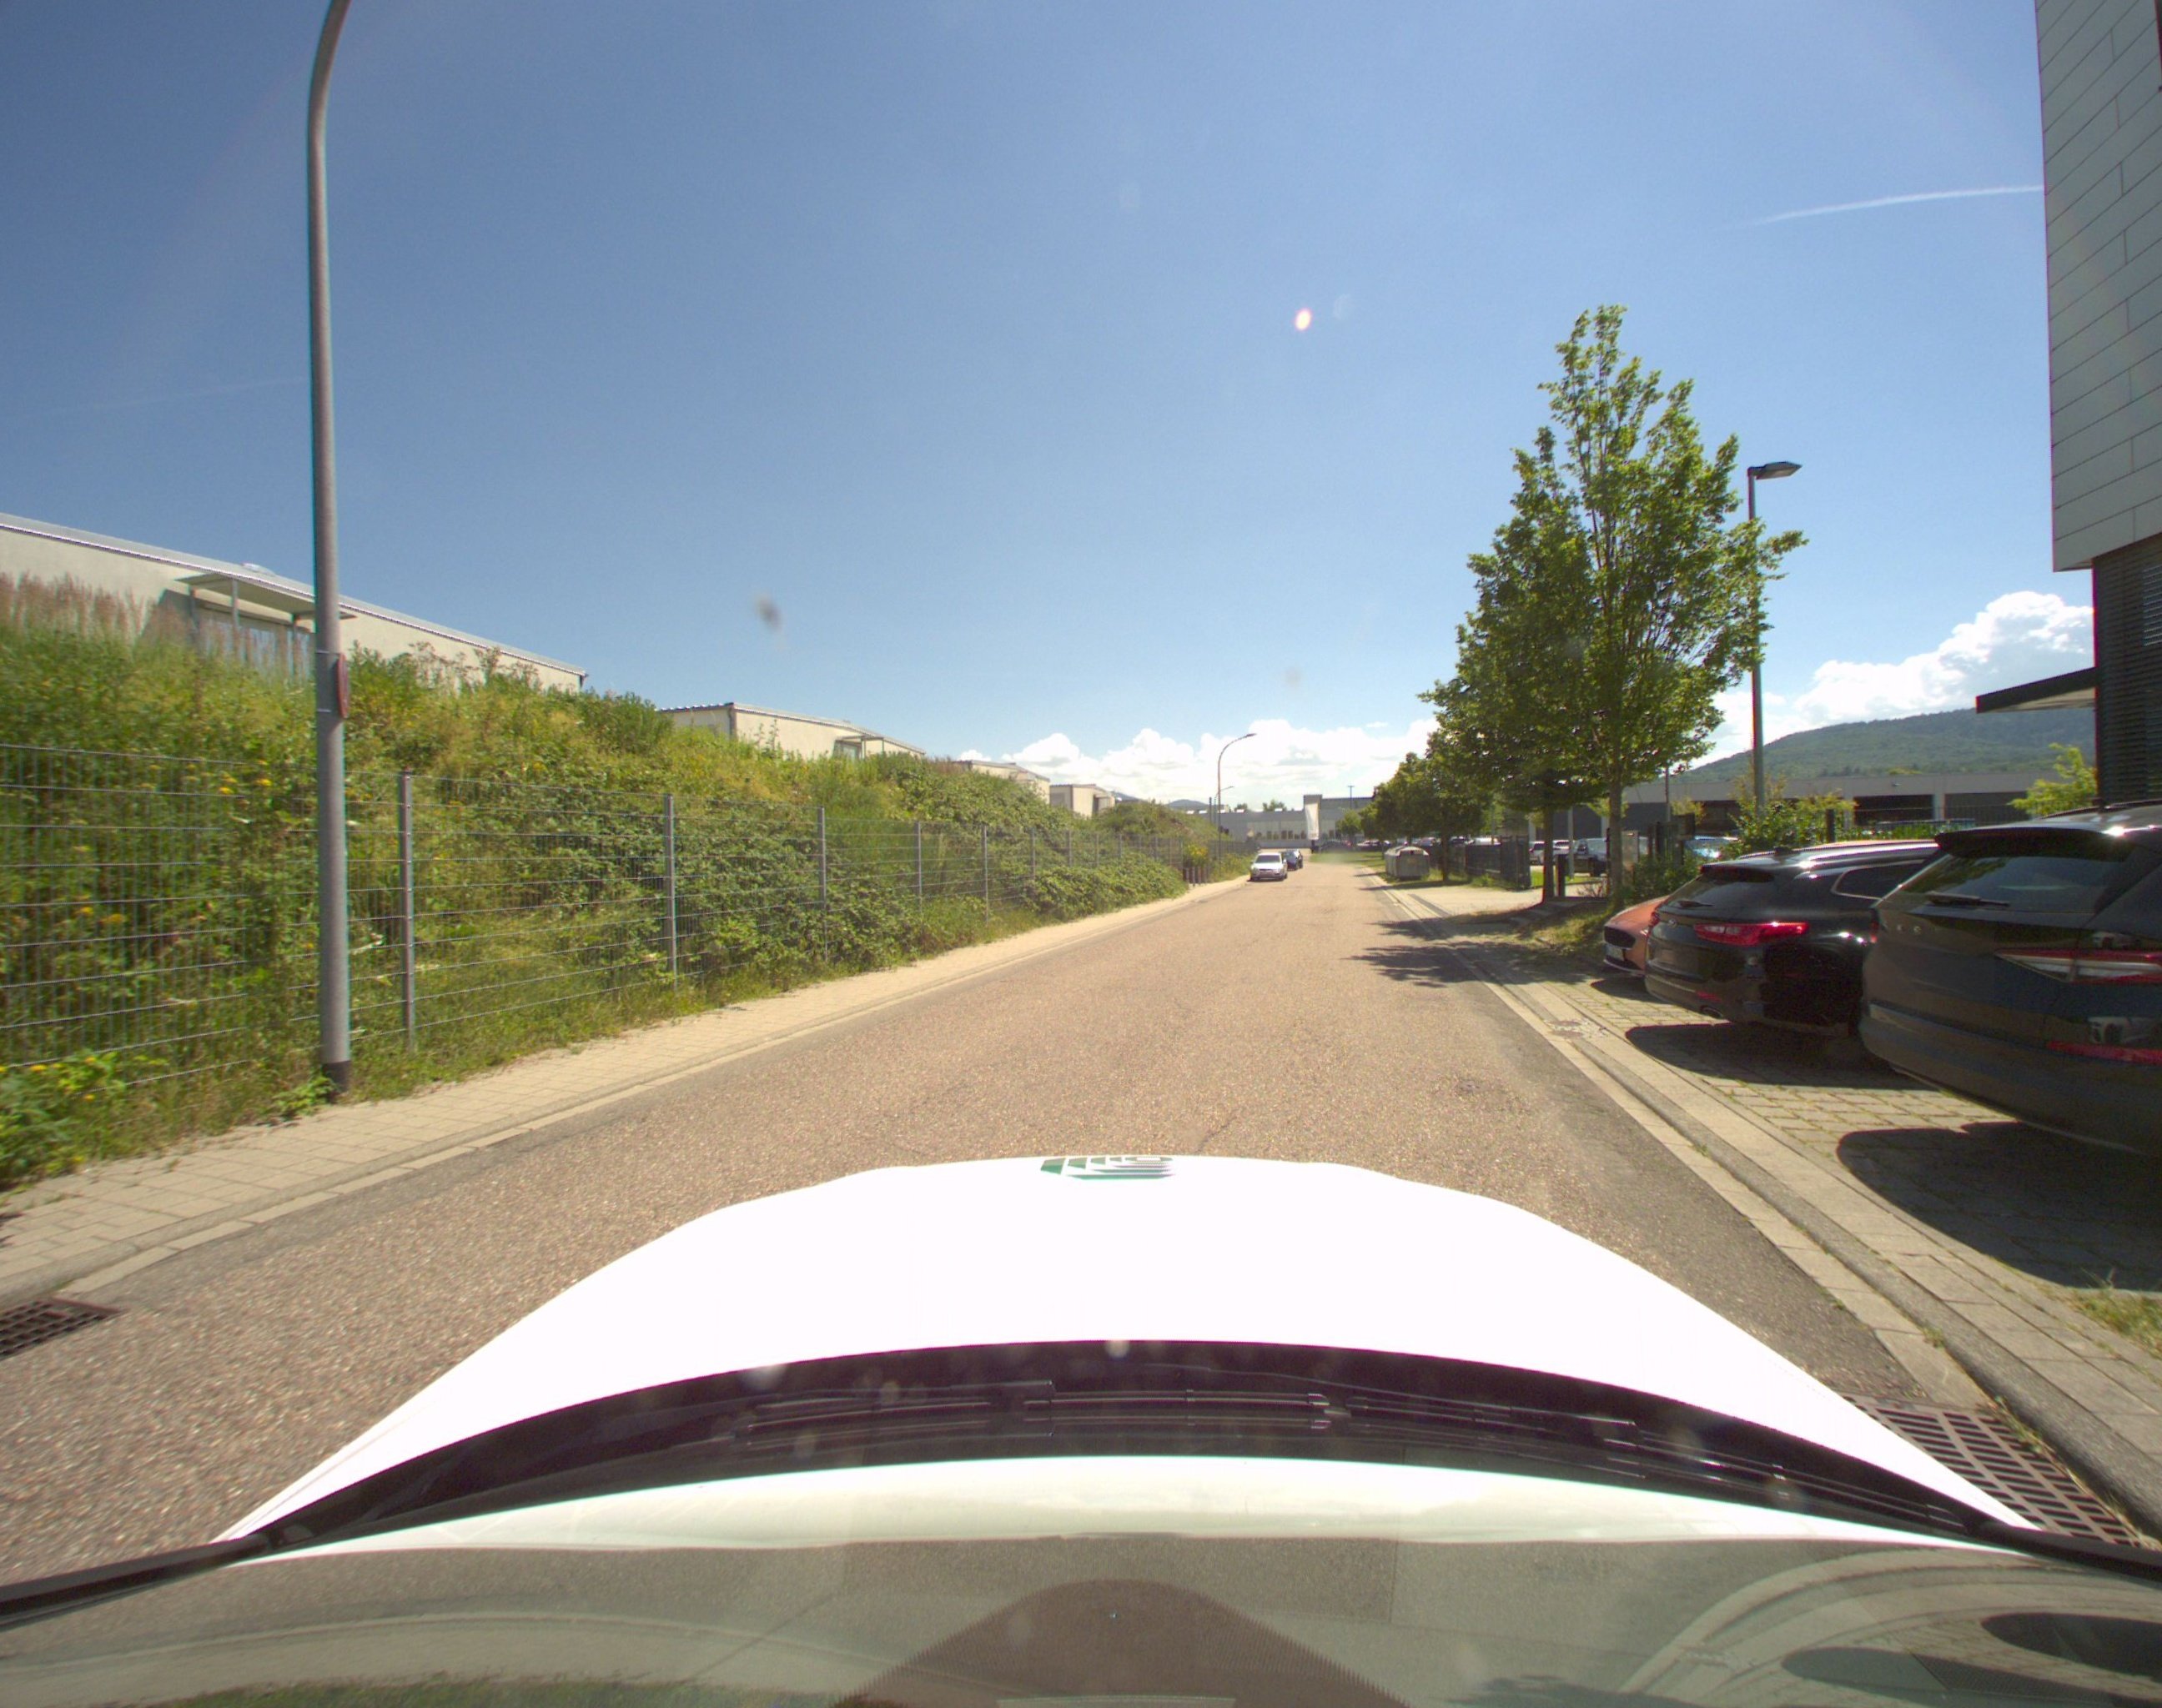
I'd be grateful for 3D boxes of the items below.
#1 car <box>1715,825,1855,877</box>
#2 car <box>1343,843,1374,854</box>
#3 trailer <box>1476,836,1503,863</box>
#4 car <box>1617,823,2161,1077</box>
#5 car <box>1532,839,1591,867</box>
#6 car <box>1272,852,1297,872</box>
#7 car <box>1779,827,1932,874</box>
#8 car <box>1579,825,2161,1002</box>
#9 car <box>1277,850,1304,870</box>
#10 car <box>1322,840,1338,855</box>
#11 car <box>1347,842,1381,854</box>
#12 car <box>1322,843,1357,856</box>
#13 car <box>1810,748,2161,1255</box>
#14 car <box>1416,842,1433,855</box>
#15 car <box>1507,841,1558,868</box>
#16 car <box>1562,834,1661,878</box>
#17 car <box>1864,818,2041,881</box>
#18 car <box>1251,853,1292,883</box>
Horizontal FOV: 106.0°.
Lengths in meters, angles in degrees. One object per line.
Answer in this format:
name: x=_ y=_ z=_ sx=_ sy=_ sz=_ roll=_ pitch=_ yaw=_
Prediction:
car: x=24.270 y=-0.027 z=28.320 sx=1.826 sy=1.654 sz=4.669 roll=-1 pitch=-2 yaw=15
car: x=38.435 y=-0.801 z=112.779 sx=3.957 sy=1.398 sz=2.008 roll=-1 pitch=-2 yaw=16
trailer: x=32.976 y=-0.374 z=65.814 sx=1.481 sy=2.006 sz=3.281 roll=-2 pitch=2 yaw=19
car: x=6.257 y=0.581 z=5.783 sx=3.684 sy=1.495 sz=1.789 roll=-2 pitch=-1 yaw=15
car: x=26.708 y=-0.027 z=45.379 sx=1.776 sy=1.433 sz=4.159 roll=-1 pitch=-2 yaw=15
car: x=15.302 y=0.563 z=61.165 sx=1.643 sy=1.417 sz=4.163 roll=-1 pitch=0 yaw=16
car: x=26.569 y=-0.054 z=28.192 sx=1.826 sy=1.433 sz=4.669 roll=-1 pitch=-2 yaw=15
car: x=7.558 y=0.582 z=8.216 sx=3.957 sy=1.495 sz=1.731 roll=-2 pitch=-1 yaw=15
car: x=17.032 y=0.436 z=66.232 sx=1.819 sy=1.546 sz=4.284 roll=-1 pitch=0 yaw=18
car: x=33.797 y=-0.822 z=110.545 sx=1.978 sy=1.827 sz=4.016 roll=-1 pitch=-2 yaw=16
car: x=36.183 y=-0.763 z=104.330 sx=3.957 sy=1.398 sz=2.008 roll=-1 pitch=-2 yaw=16
car: x=31.838 y=-0.535 z=100.422 sx=3.957 sy=1.398 sz=2.008 roll=-1 pitch=-2 yaw=16
car: x=5.677 y=0.453 z=3.072 sx=3.953 sy=1.765 sz=1.733 roll=-2 pitch=-1 yaw=20
car: x=53.828 y=-0.865 z=127.580 sx=1.978 sy=1.827 sz=4.017 roll=-1 pitch=-2 yaw=17
car: x=27.933 y=-0.004 z=50.501 sx=1.776 sy=1.531 sz=4.441 roll=-1 pitch=2 yaw=15
car: x=19.414 y=0.137 z=30.024 sx=1.776 sy=1.455 sz=4.427 roll=-1 pitch=-2 yaw=15
car: x=28.859 y=-0.062 z=27.211 sx=1.897 sy=1.900 sz=4.534 roll=-1 pitch=-2 yaw=15
car: x=10.511 y=0.721 z=44.796 sx=1.819 sy=1.546 sz=4.387 roll=-1 pitch=0 yaw=18
